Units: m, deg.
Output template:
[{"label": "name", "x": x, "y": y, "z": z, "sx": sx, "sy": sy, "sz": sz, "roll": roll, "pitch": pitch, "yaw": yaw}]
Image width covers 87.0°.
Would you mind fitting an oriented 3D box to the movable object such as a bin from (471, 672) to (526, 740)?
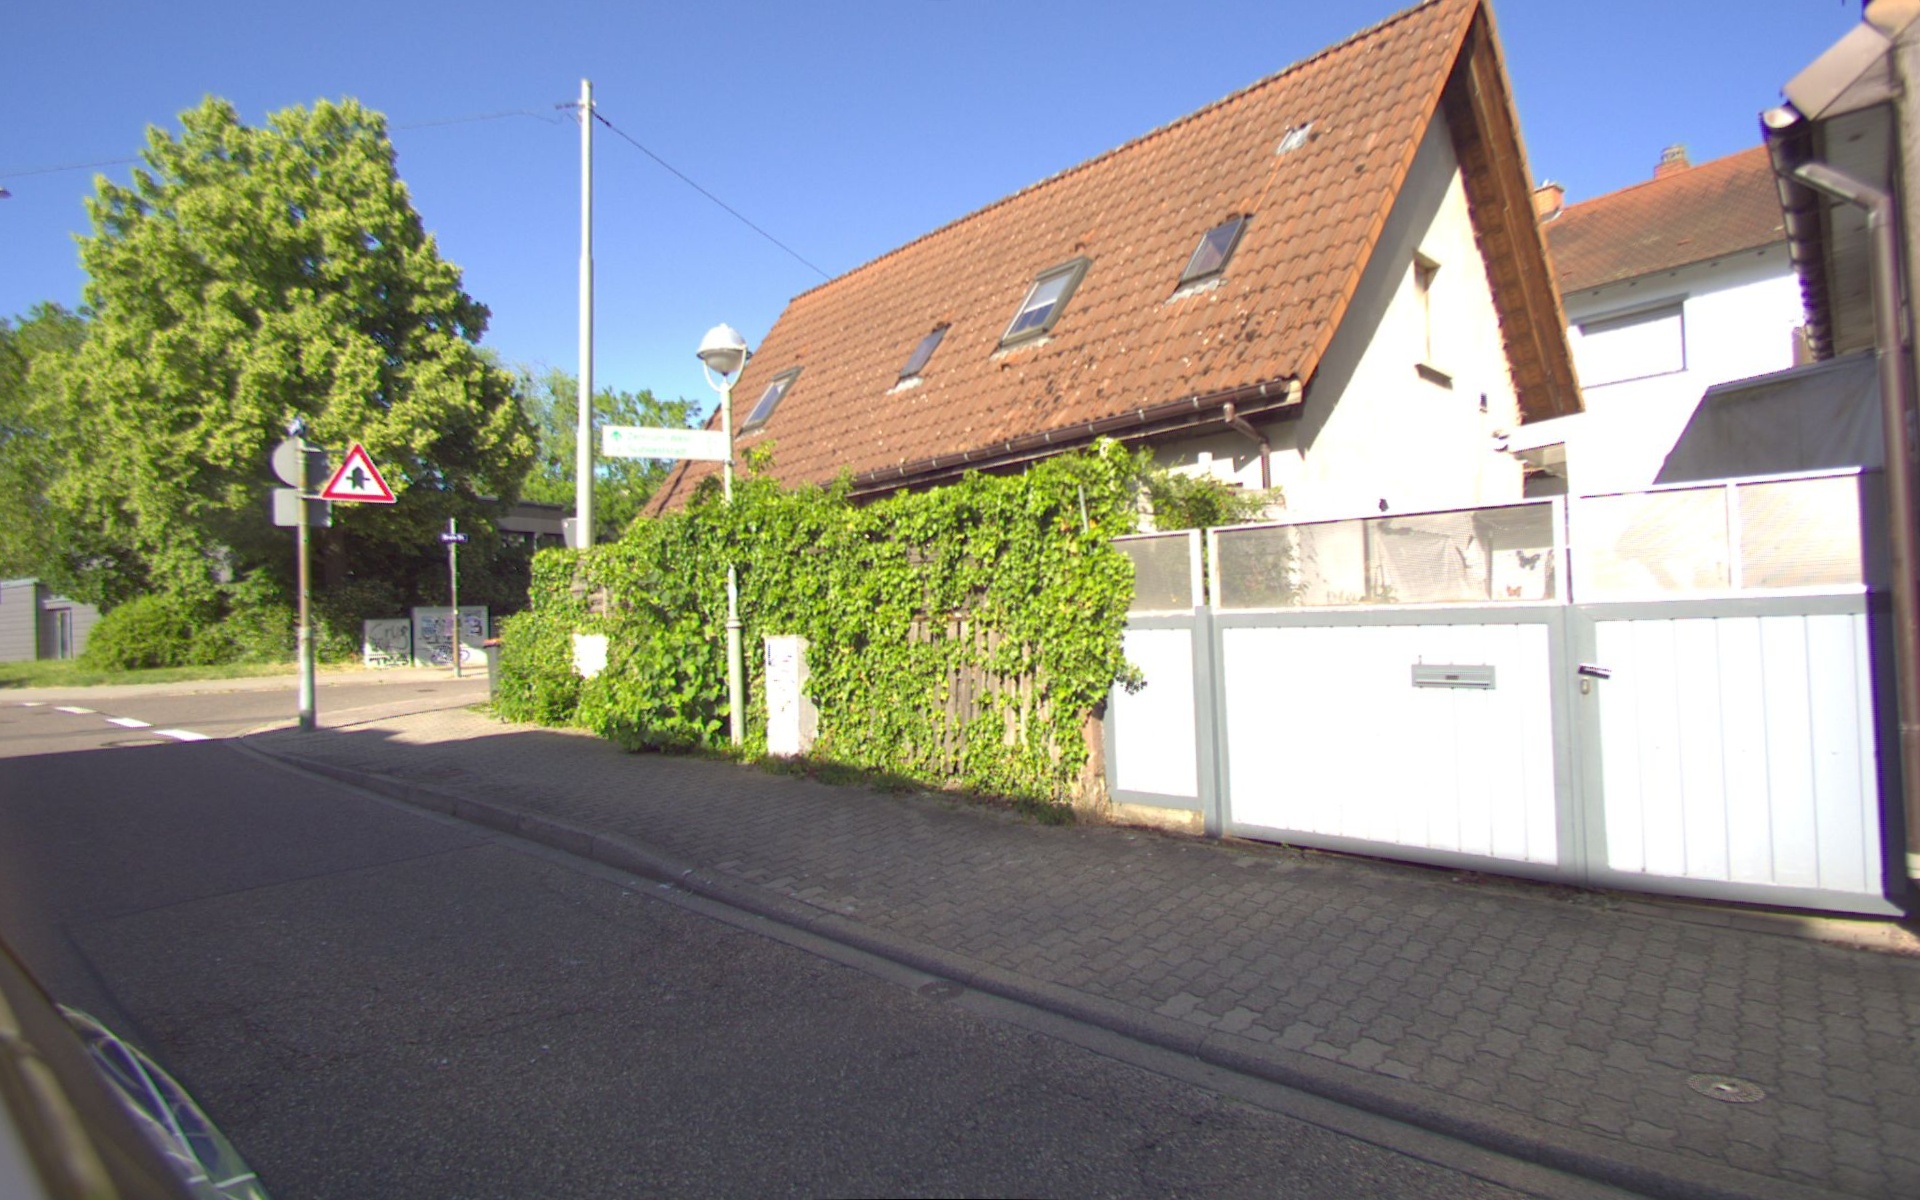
[{"label": "movable object such as a bin", "x": -6.715, "y": 1.527, "z": 14.730, "sx": 0.549, "sy": 0.932, "sz": 0.626, "roll": 0, "pitch": -3, "yaw": -43}]
